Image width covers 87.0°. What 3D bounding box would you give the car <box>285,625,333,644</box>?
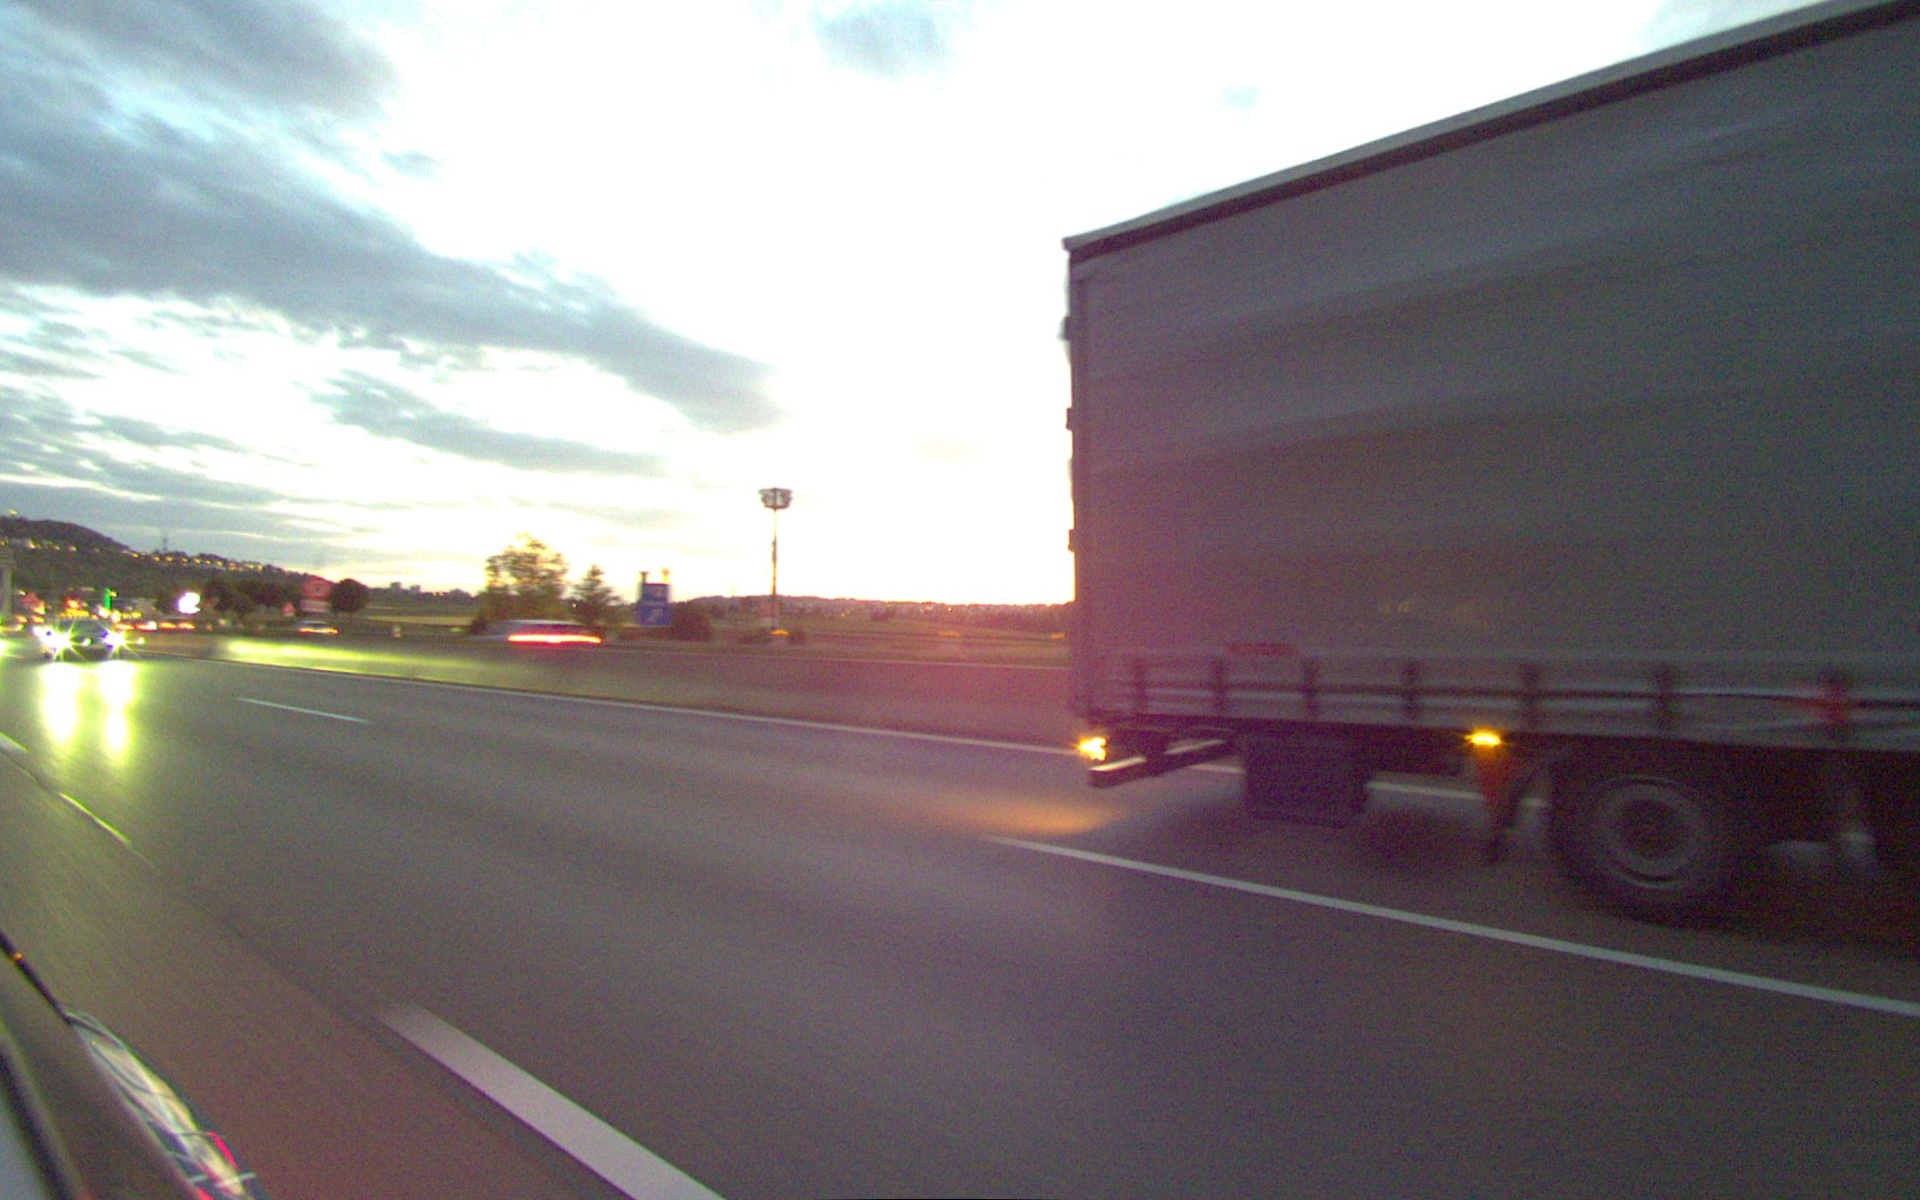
[{"bbox_3d":[-44.406,2.315,68.996,3.998,1.187,1.700,-1,0,41],"label":"car"}]

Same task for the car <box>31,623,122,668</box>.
[{"bbox_3d":[-32.184,1.587,36.811,5.392,1.448,1.795,-1,0,41],"label":"car"}]

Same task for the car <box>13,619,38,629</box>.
[{"bbox_3d":[-101.617,2.576,110.021,3.564,0.996,1.675,-1,0,42],"label":"car"}]

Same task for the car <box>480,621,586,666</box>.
[{"bbox_3d":[-13.423,1.324,31.757,3.643,1.299,1.637,-1,0,41],"label":"car"}]

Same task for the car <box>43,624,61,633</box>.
[{"bbox_3d":[-131.306,4.068,146.355,3.608,1.200,1.520,-1,0,42],"label":"car"}]

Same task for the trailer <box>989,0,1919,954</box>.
[{"bbox_3d":[6.494,-0.692,3.287,14.522,4.116,2.764,-1,-1,42],"label":"trailer"}]

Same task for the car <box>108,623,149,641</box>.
[{"bbox_3d":[-60.010,2.266,73.039,3.998,1.187,1.648,-1,0,41],"label":"car"}]

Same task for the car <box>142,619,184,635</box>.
[{"bbox_3d":[-63.150,2.141,80.174,3.998,1.187,1.911,-1,0,41],"label":"car"}]
